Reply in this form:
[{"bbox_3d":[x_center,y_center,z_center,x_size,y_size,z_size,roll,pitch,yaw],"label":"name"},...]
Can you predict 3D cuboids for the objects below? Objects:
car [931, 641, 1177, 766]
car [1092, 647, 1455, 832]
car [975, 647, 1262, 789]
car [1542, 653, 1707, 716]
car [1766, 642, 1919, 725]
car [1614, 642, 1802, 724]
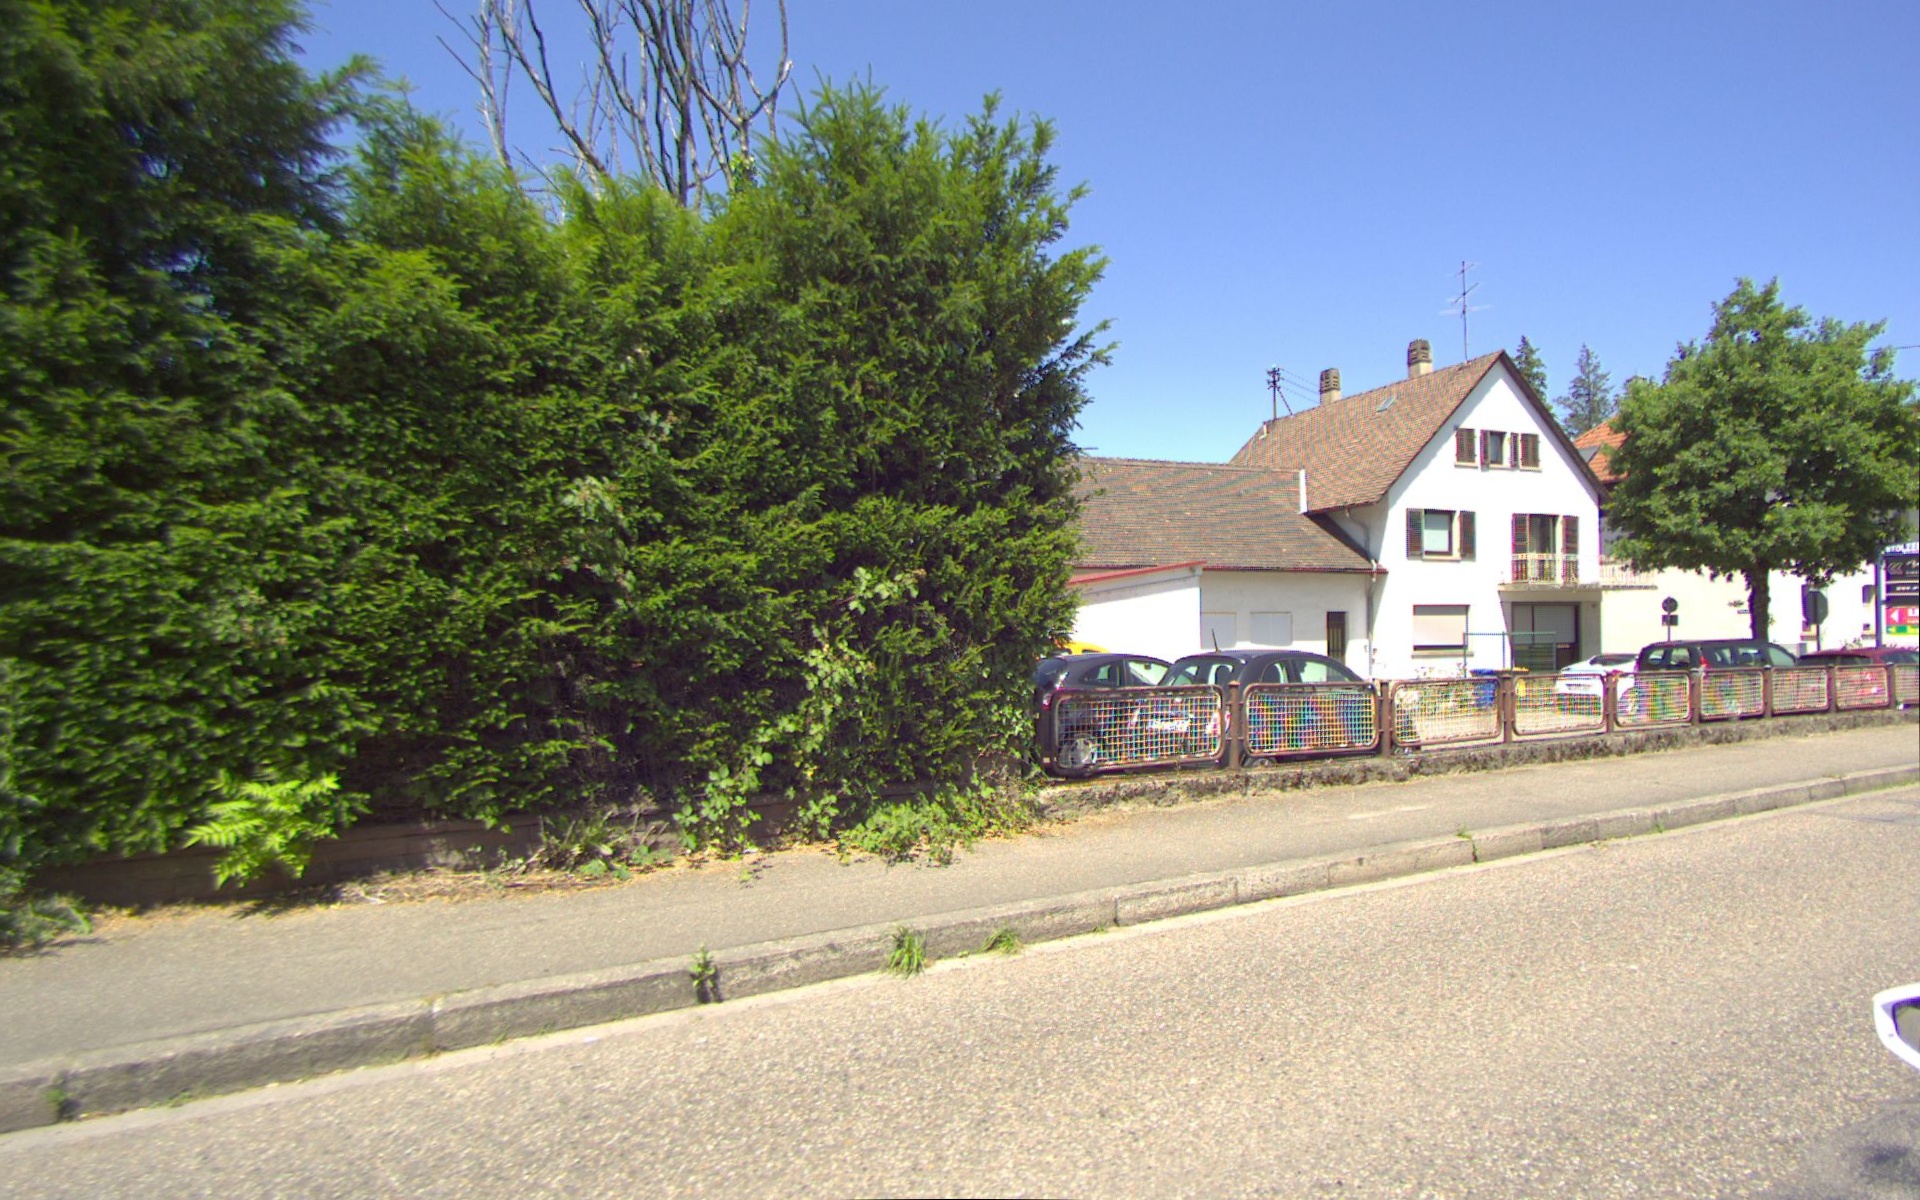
[{"bbox_3d":[1.465,1.489,15.464,3.493,1.711,1.652,1,-3,-31],"label":"car"},{"bbox_3d":[3.317,1.309,10.565,3.493,1.617,1.768,1,-3,-31],"label":"car"},{"bbox_3d":[2.103,1.434,13.188,3.493,1.617,1.652,1,-3,-31],"label":"car"},{"bbox_3d":[15.726,1.947,23.788,3.486,1.350,1.656,1,-3,-24],"label":"car"},{"bbox_3d":[17.044,1.499,18.783,3.486,1.407,1.656,1,-3,-24],"label":"car"},{"bbox_3d":[15.641,1.678,21.015,3.486,1.596,1.656,1,-2,-24],"label":"car"}]
